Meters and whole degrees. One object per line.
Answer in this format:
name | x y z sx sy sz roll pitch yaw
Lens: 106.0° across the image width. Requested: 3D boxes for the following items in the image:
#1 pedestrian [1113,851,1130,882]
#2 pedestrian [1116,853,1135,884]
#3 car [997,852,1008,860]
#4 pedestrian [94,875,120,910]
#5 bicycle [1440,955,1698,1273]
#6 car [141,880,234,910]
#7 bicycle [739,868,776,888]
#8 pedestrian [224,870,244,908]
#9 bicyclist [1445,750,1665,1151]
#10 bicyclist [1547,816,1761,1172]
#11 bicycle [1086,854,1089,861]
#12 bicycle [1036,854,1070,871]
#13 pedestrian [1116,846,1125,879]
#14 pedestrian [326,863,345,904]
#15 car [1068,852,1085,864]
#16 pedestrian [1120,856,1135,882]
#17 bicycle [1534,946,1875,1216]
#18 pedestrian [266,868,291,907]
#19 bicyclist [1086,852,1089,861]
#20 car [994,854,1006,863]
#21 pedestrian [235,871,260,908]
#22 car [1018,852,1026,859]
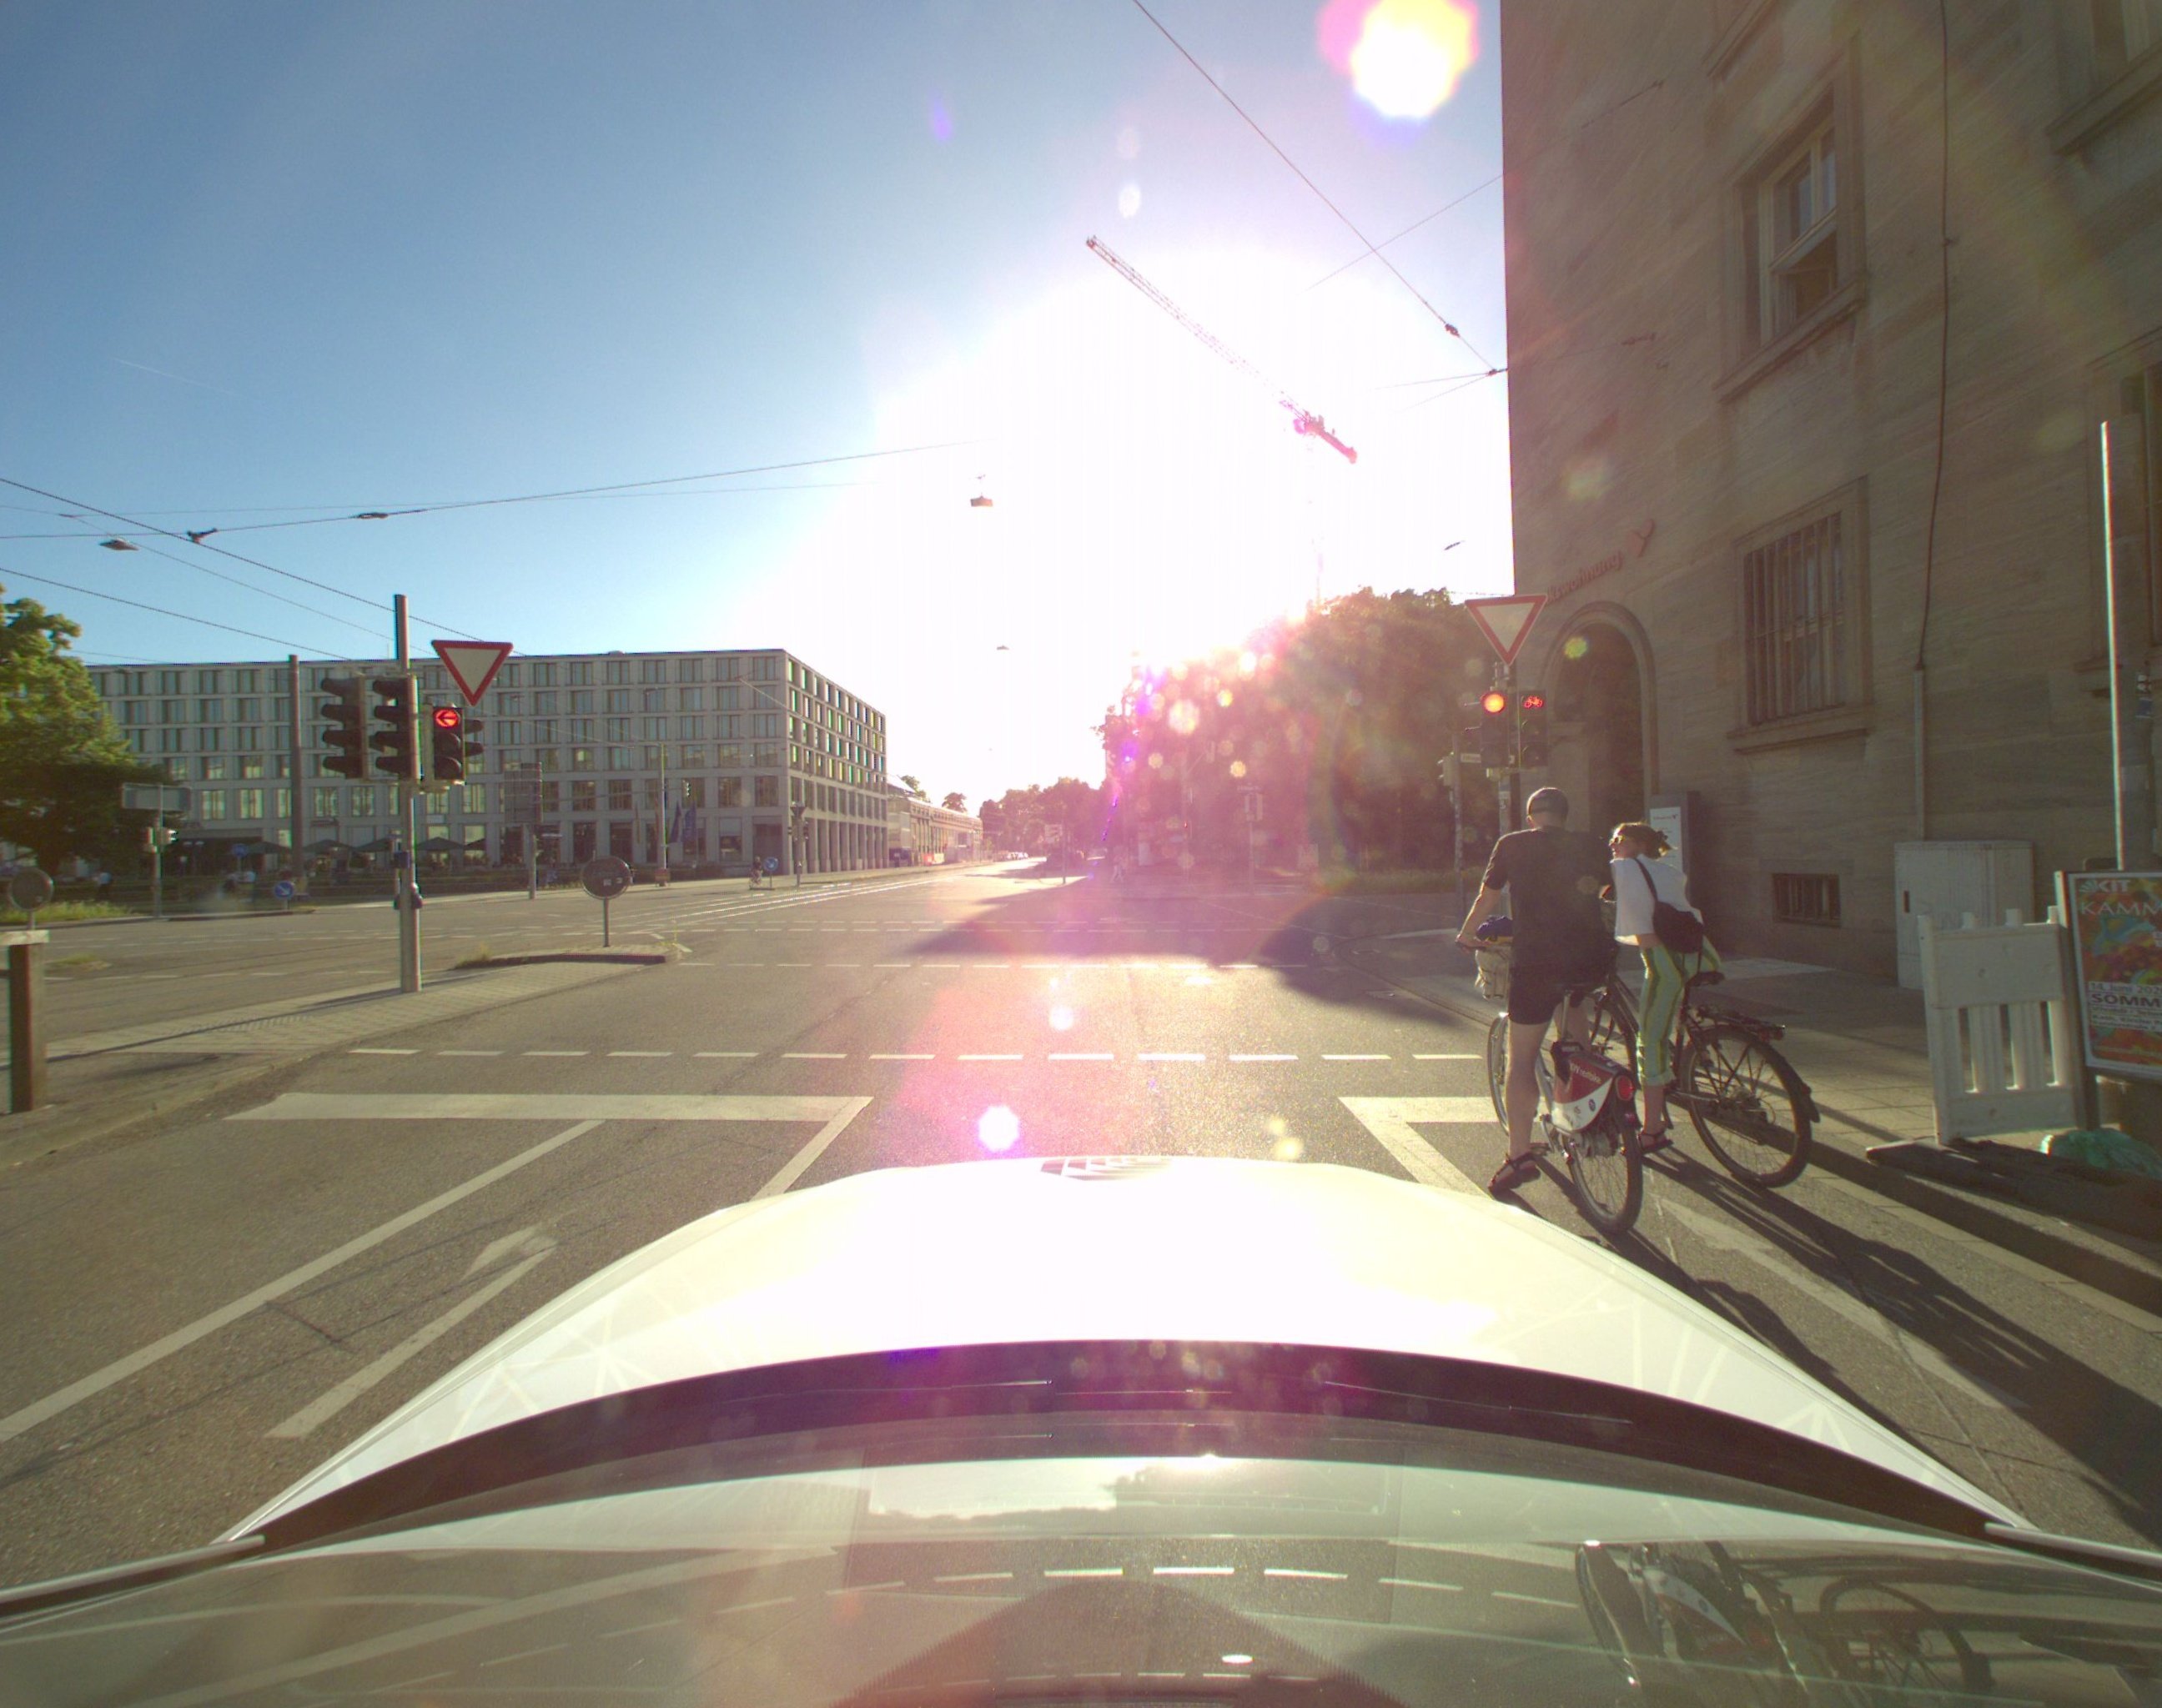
pedestrian | 2.181 0.689 44.052 0.790 1.639 0.535 -2 0 13
pedestrian | 2.364 0.778 43.352 0.980 1.587 0.661 -2 -1 3
car | -15.492 0.379 160.713 1.724 1.653 4.002 -2 0 2
pedestrian | -53.015 2.085 44.319 0.557 1.903 0.684 -2 0 10
bicycle | 2.208 1.068 3.946 0.387 0.905 1.956 -2 0 10
car | -46.890 2.142 42.795 3.175 1.438 1.470 -2 0 -1
bicycle | -19.631 1.439 49.436 0.872 1.121 3.015 -2 0 3
pedestrian | -45.710 1.866 43.948 0.493 2.013 0.490 -2 0 -8
bicyclist | 2.154 0.409 3.791 0.665 1.678 0.659 -2 0 12
bicyclist | 2.962 0.665 4.295 0.519 1.679 0.860 -2 0 5
bicycle | 0.806 0.408 98.435 0.323 0.868 1.484 -2 0 2
bicycle | -2.321 0.726 67.363 2.728 1.367 0.633 -1 -1 12
pedestrian | 2.200 0.472 44.872 0.358 1.804 0.508 -2 0 14
pedestrian | -42.334 1.658 46.243 0.568 2.280 0.532 -2 0 -5
car | -0.492 0.409 90.508 1.814 1.279 3.999 -2 0 0
pedestrian | 2.484 0.811 43.683 0.749 1.332 0.743 -2 0 3
bicycle | 3.091 1.041 4.308 0.424 0.876 1.953 -2 0 5
pedestrian | -43.779 1.820 44.438 0.648 2.069 0.649 -2 -3 -5
bicyclist | 0.798 0.273 98.484 0.317 1.127 0.291 -2 0 1
car | -15.675 0.833 157.591 1.724 1.653 4.002 -2 0 2
pedestrian | -45.818 1.932 44.753 0.528 2.013 0.800 -2 0 -5
car | -14.045 0.324 194.905 1.478 1.750 4.002 -2 0 2
